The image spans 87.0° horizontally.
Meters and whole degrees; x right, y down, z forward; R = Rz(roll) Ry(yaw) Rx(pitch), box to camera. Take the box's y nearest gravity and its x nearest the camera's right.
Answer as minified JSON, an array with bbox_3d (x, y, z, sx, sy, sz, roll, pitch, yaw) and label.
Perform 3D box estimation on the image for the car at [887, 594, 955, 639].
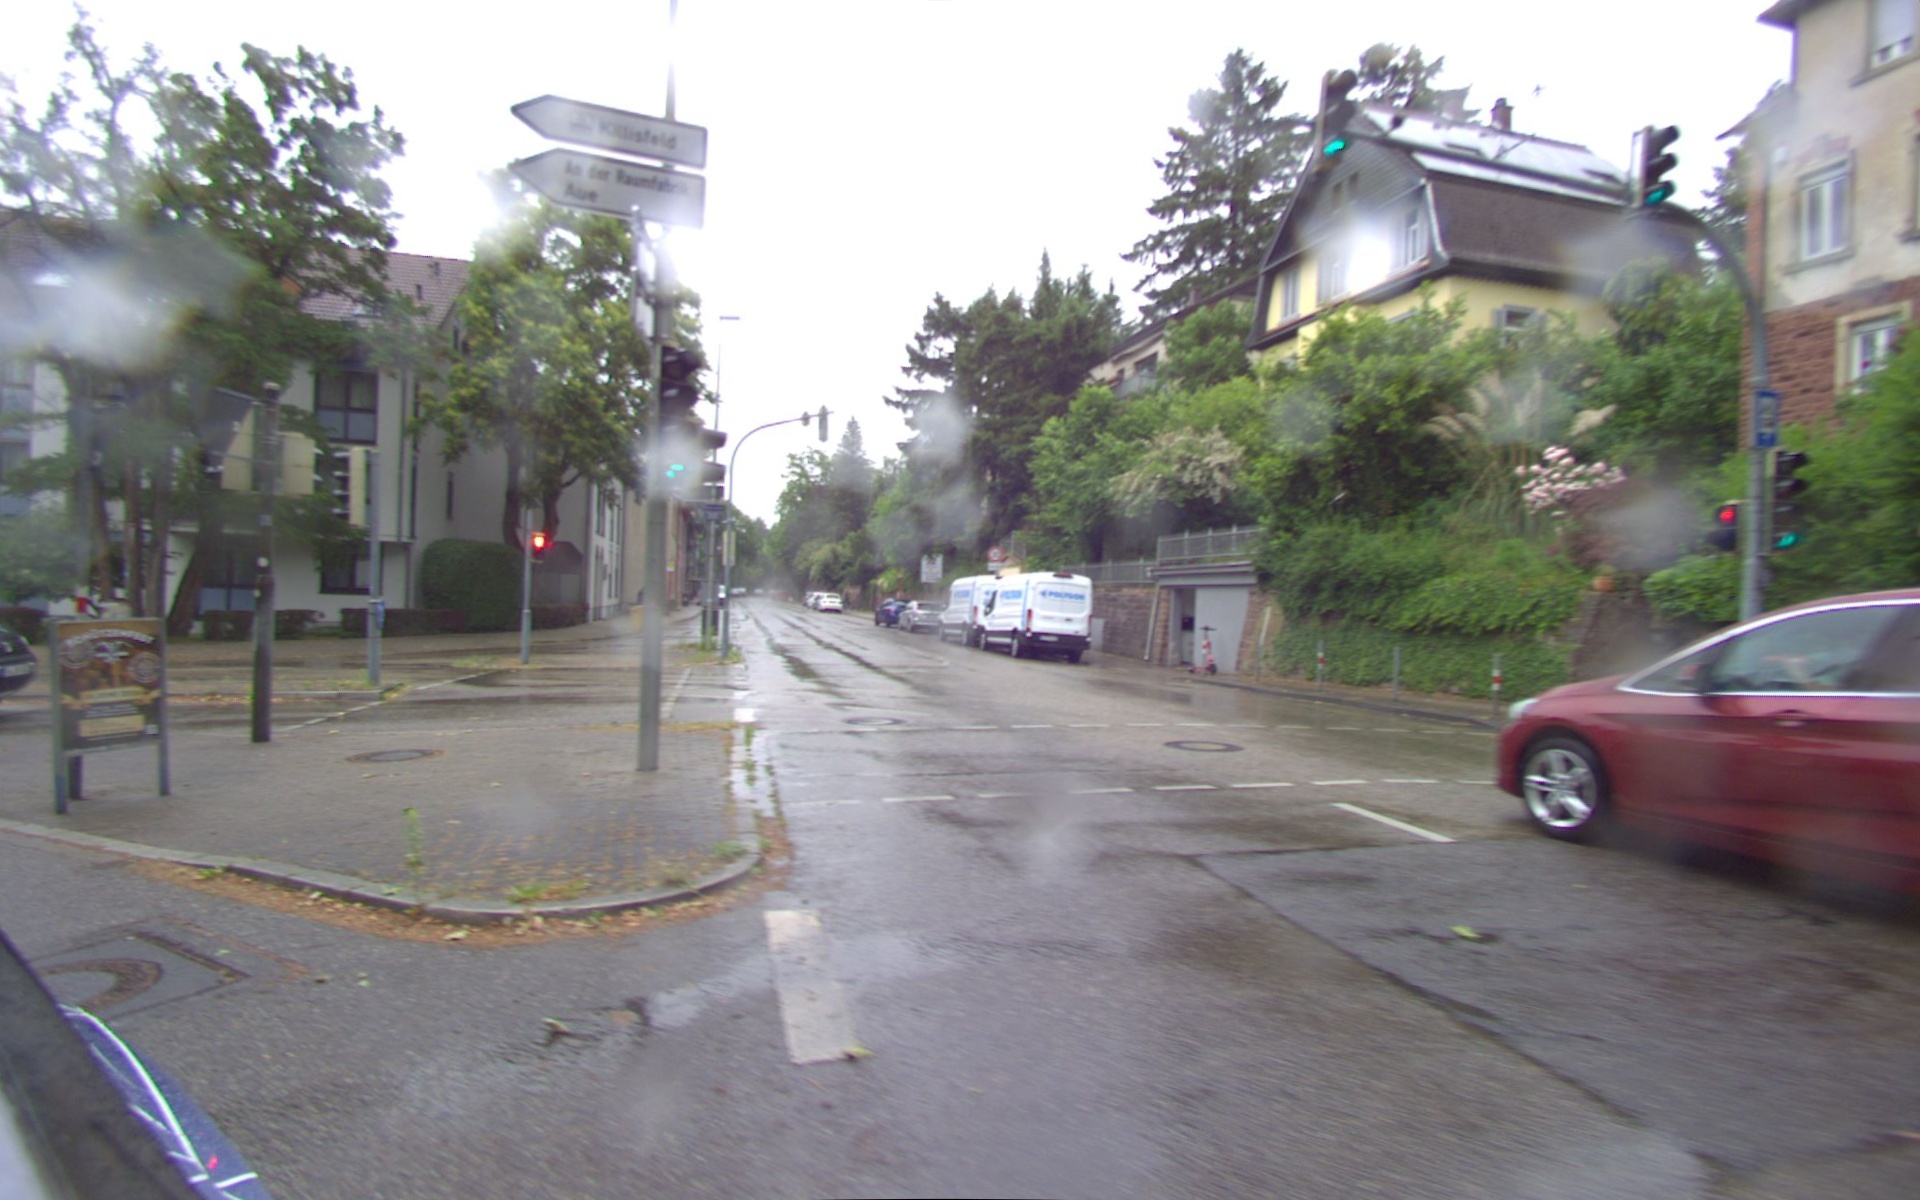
[{"bbox_3d":[-1.940,0.724,48.042,2.075,1.867,5.597,2,1,-14],"label":"car"}]

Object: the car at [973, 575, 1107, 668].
[{"bbox_3d":[2.275,0.556,30.967,2.277,2.513,5.695,2,1,-14],"label":"car"}]

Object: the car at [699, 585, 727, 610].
[{"bbox_3d":[-20.632,-0.165,84.483,2.048,1.973,4.461,2,-1,-16],"label":"car"}]

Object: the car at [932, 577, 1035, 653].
[{"bbox_3d":[0.745,0.452,37.217,2.277,2.513,5.597,2,1,-14],"label":"car"}]

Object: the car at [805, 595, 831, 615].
[{"bbox_3d":[-12.752,0.435,90.771,1.895,1.666,4.011,2,-1,-14],"label":"car"}]

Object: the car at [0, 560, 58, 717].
[{"bbox_3d":[-12.765,0.410,10.672,4.522,1.724,1.772,0,2,-17],"label":"car"}]

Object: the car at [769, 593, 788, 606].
[{"bbox_3d":[-24.425,-0.051,136.148,1.895,1.664,3.992,2,-1,-17],"label":"car"}]

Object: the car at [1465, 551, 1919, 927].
[{"bbox_3d":[4.885,0.632,4.909,1.745,1.613,4.595,2,-1,-14],"label":"car"}]

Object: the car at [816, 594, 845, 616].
[{"bbox_3d":[-10.324,0.414,80.224,1.788,1.658,4.011,2,-1,-14],"label":"car"}]

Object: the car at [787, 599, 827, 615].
[{"bbox_3d":[-15.241,0.698,100.745,3.822,1.453,1.819,2,-1,-6],"label":"car"}]

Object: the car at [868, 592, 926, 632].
[{"bbox_3d":[-3.472,0.600,54.482,2.075,1.867,5.597,2,1,-14],"label":"car"}]

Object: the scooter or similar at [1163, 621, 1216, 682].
[{"bbox_3d":[5.315,1.189,23.424,1.090,1.345,0.456,1,-2,33],"label":"scooter or similar"}]
